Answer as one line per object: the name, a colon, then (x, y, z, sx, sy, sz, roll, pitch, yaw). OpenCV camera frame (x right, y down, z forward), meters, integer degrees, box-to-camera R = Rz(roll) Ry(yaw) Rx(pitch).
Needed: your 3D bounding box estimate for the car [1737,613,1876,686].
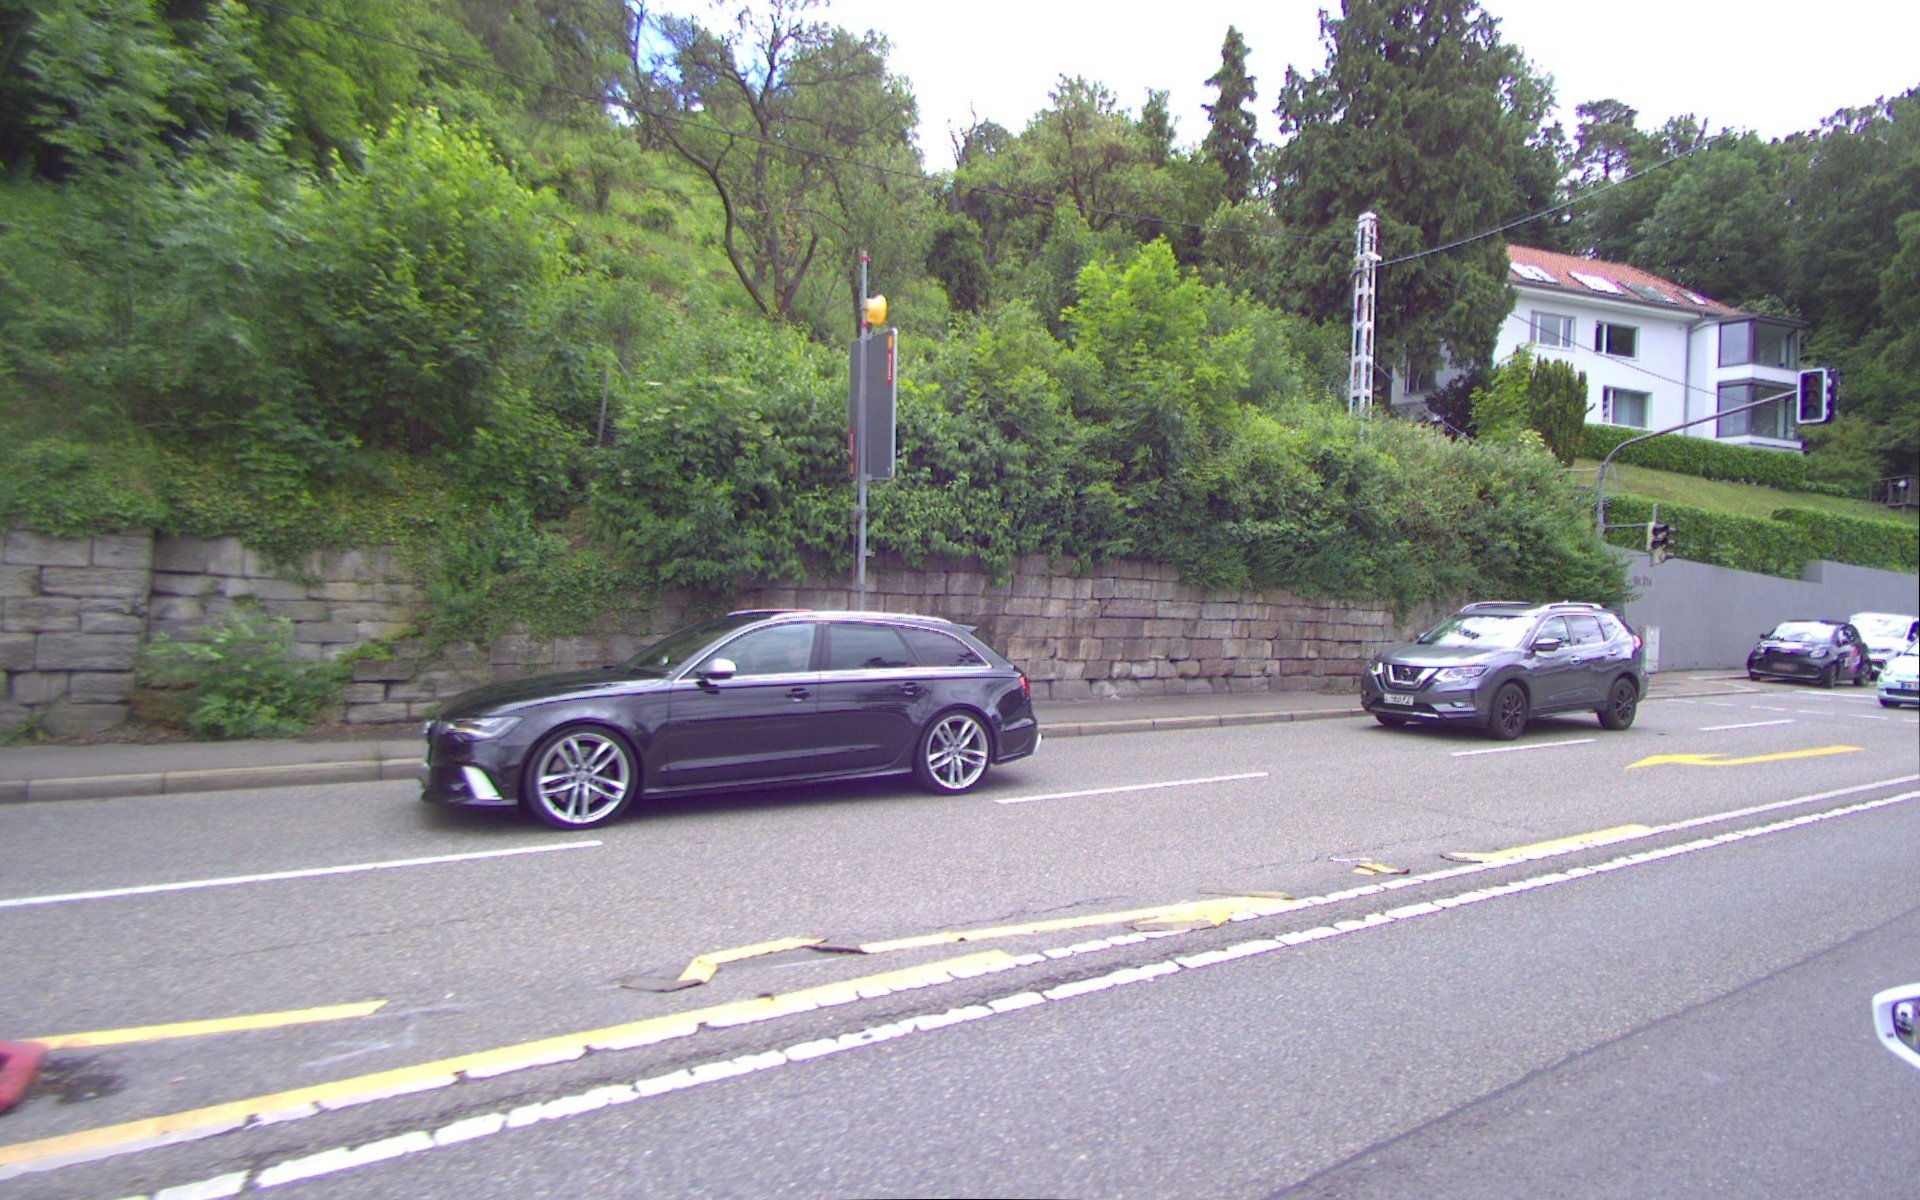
car: (20.867, 1.167, 24.765, 2.923, 1.594, 1.702, 0, 3, -31)

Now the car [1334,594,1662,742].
car: (7.394, 0.844, 13.677, 4.619, 1.719, 1.873, 2, -1, -32)

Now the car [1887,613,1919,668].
car: (30.117, 1.264, 30.019, 4.410, 1.593, 1.829, 2, 0, -22)

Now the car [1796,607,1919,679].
car: (25.063, 1.159, 27.427, 4.704, 1.754, 1.850, 2, 1, -29)

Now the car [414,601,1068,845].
car: (-1.598, 0.788, 8.069, 4.820, 1.449, 1.800, 1, 0, -32)

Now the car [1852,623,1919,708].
car: (18.669, 1.213, 18.685, 3.608, 1.486, 1.707, 1, 1, -23)
